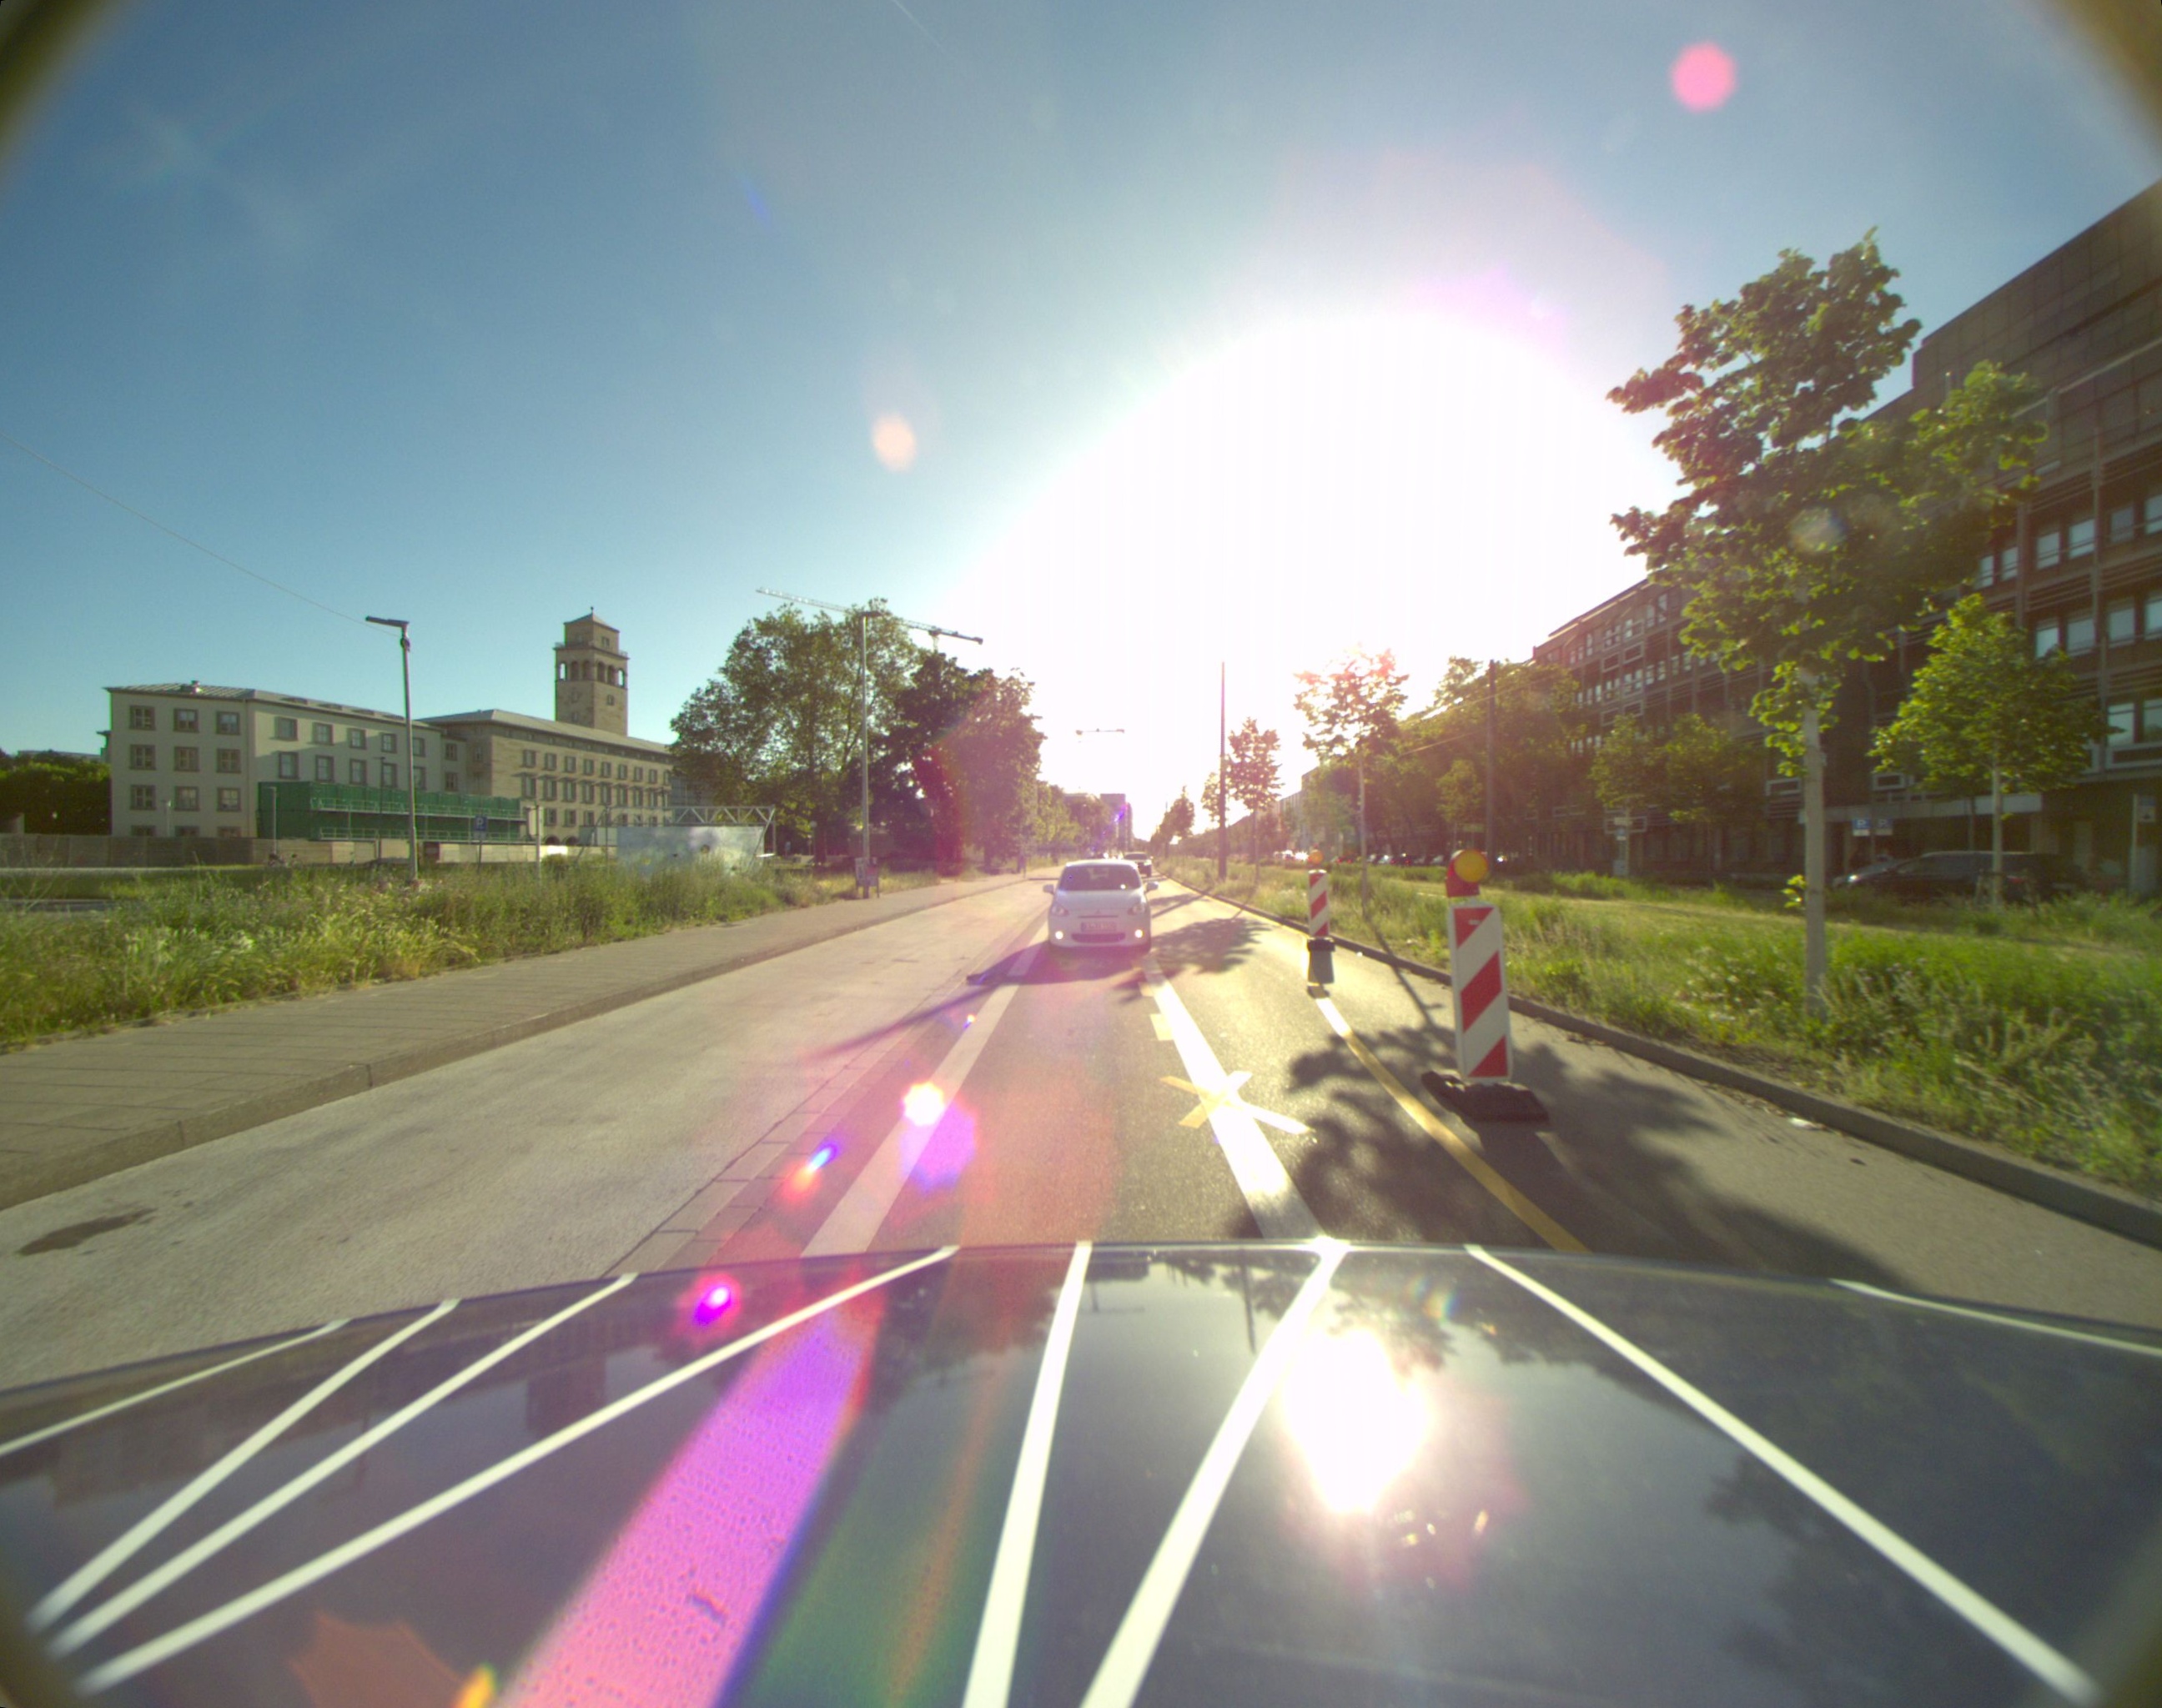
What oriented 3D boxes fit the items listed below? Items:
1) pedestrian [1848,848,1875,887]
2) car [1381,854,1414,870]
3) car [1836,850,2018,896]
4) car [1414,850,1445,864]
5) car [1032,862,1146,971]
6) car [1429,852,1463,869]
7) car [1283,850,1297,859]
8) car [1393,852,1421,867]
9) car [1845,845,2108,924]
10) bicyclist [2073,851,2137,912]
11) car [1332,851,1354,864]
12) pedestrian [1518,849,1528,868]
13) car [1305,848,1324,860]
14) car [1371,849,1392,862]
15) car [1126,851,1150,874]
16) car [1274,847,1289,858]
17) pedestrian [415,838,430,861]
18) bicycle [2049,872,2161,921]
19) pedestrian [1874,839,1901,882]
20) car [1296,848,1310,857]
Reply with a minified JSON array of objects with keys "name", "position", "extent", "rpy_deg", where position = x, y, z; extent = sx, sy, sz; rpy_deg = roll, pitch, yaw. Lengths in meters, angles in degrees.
[{"name":"pedestrian","position":[31.904,0.535,31.065],"extent":[0.521,1.569,0.536],"rpy_deg":[1,1,7]},{"name":"car","position":[30.108,0.774,72.335],"extent":[1.719,1.379,4.041],"rpy_deg":[-2,0,6]},{"name":"car","position":[27.729,0.569,25.143],"extent":[1.720,1.379,4.040],"rpy_deg":[-1,0,5]},{"name":"car","position":[36.324,0.315,79.214],"extent":[1.726,1.477,3.632],"rpy_deg":[0,0,3]},{"name":"car","position":[0.222,0.928,12.714],"extent":[1.614,1.489,3.395],"rpy_deg":[-2,0,4]},{"name":"car","position":[35.239,0.640,73.402],"extent":[1.726,1.535,3.632],"rpy_deg":[-2,0,4]},{"name":"car","position":[32.045,0.117,116.586],"extent":[1.554,1.371,3.781],"rpy_deg":[1,0,6]},{"name":"car","position":[36.399,0.597,84.993],"extent":[1.726,1.593,3.631],"rpy_deg":[-2,1,4]},{"name":"car","position":[21.866,0.672,18.857],"extent":[1.732,1.736,4.121],"rpy_deg":[0,0,2]},{"name":"bicyclist","position":[24.877,0.661,18.470],"extent":[0.566,1.449,0.706],"rpy_deg":[1,1,3]},{"name":"car","position":[32.819,0.433,95.431],"extent":[1.631,1.487,4.418],"rpy_deg":[1,0,6]},{"name":"pedestrian","position":[40.685,0.373,69.951],"extent":[0.483,1.739,0.639],"rpy_deg":[1,1,6]},{"name":"car","position":[29.627,-0.035,96.422],"extent":[1.631,1.487,3.781],"rpy_deg":[1,0,6]},{"name":"car","position":[37.693,0.138,95.375],"extent":[1.390,1.592,3.267],"rpy_deg":[-2,0,4]},{"name":"car","position":[3.862,0.574,51.035],"extent":[1.458,1.472,3.529],"rpy_deg":[1,0,6]},{"name":"car","position":[33.322,-0.242,126.513],"extent":[1.864,1.671,3.781],"rpy_deg":[1,0,6]},{"name":"pedestrian","position":[-37.722,-0.233,43.525],"extent":[0.572,1.288,0.442],"rpy_deg":[-1,3,31]},{"name":"bicycle","position":[24.872,1.009,18.415],"extent":[0.566,1.090,1.771],"rpy_deg":[1,0,3]},{"name":"pedestrian","position":[32.707,0.267,30.816],"extent":[0.521,1.712,0.536],"rpy_deg":[1,1,7]},{"name":"car","position":[35.661,-0.265,122.166],"extent":[1.554,1.371,3.781],"rpy_deg":[1,0,6]}]
